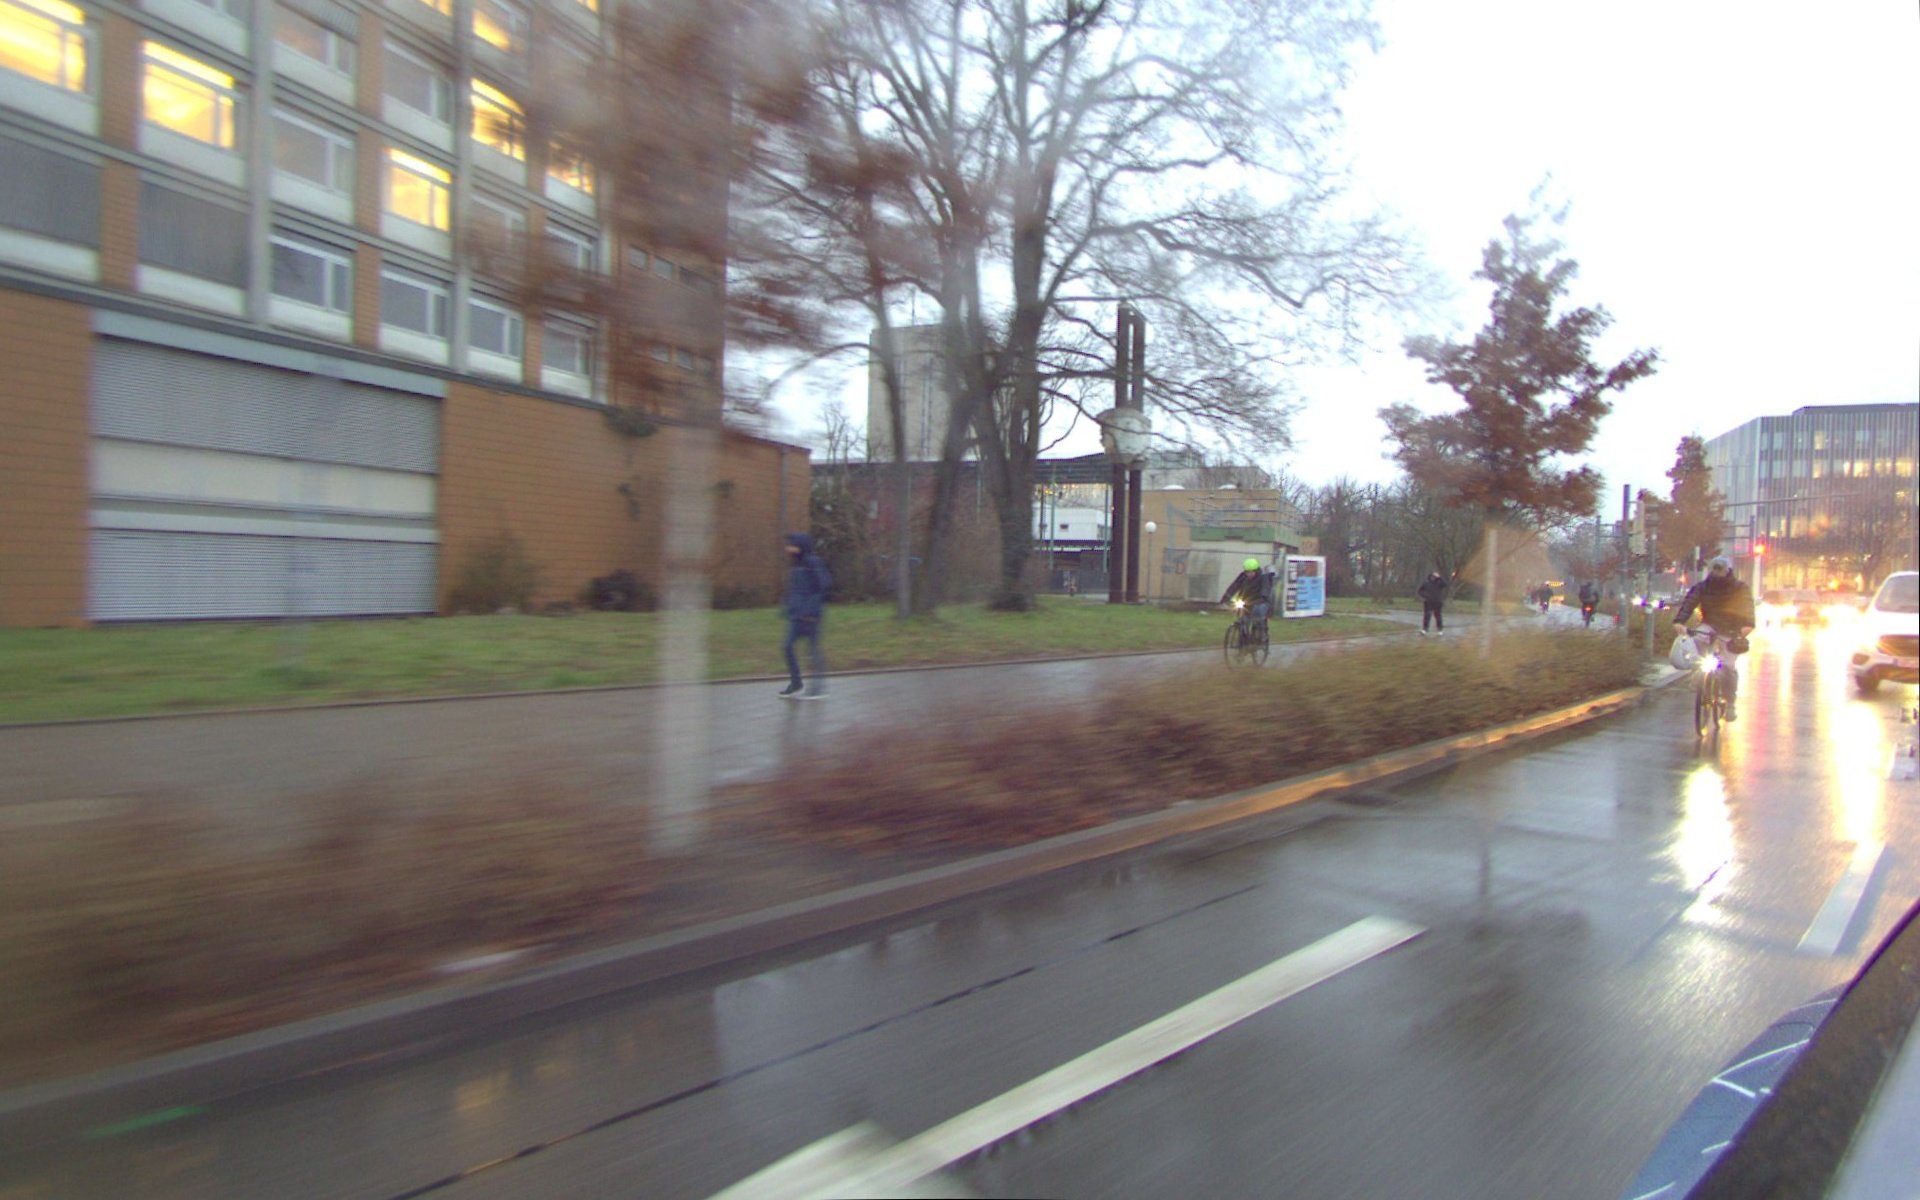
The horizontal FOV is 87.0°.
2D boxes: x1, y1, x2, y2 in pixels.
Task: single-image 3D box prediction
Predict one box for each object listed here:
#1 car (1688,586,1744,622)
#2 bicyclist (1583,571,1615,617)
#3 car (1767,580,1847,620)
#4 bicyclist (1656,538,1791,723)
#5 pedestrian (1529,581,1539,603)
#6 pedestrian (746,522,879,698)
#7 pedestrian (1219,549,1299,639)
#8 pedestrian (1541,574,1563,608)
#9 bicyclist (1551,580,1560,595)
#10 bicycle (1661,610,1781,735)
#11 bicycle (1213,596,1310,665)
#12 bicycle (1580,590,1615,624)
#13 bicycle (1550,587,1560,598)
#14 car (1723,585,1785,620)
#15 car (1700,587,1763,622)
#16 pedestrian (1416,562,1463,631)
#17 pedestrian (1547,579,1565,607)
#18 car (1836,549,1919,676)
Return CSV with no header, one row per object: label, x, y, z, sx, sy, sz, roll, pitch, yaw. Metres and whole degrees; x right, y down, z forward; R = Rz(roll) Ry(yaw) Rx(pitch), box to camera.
car,41.605,0.167,55.779,1.984,1.860,3.957,2,2,30
bicyclist,23.927,-0.235,37.907,0.803,1.637,1.071,6,4,38
car,41.408,-0.052,49.593,1.982,1.771,4.897,3,2,28
bicyclist,8.470,0.308,11.225,1.215,1.907,1.024,0,0,-44
pedestrian,54.796,-0.796,96.614,0.759,2.038,0.766,2,2,28
pedestrian,-1.532,0.075,10.513,1.053,1.708,0.808,0,4,-44
pedestrian,4.609,-0.111,15.617,0.874,1.333,0.835,3,3,43
pedestrian,32.894,-0.518,56.228,0.925,1.848,0.826,3,2,29
bicyclist,62.821,-1.330,106.776,0.761,1.508,0.984,2,2,29
bicycle,8.466,0.743,11.227,1.873,1.238,0.793,0,0,-44
bicycle,4.709,0.436,15.734,0.561,0.958,2.063,3,3,43
bicycle,23.893,0.236,37.915,0.802,1.155,2.183,6,4,38
bicycle,62.794,-0.799,106.762,0.788,1.028,2.874,2,2,29
car,44.994,0.101,57.443,1.982,1.771,4.427,3,2,28
car,38.545,0.186,50.645,1.759,1.504,4.427,3,3,28
pedestrian,12.494,-0.087,26.365,0.907,1.708,0.916,4,1,34
pedestrian,40.525,-0.466,68.819,0.925,1.848,0.826,3,2,29
car,16.850,0.295,16.671,4.916,1.945,2.141,3,0,-30
